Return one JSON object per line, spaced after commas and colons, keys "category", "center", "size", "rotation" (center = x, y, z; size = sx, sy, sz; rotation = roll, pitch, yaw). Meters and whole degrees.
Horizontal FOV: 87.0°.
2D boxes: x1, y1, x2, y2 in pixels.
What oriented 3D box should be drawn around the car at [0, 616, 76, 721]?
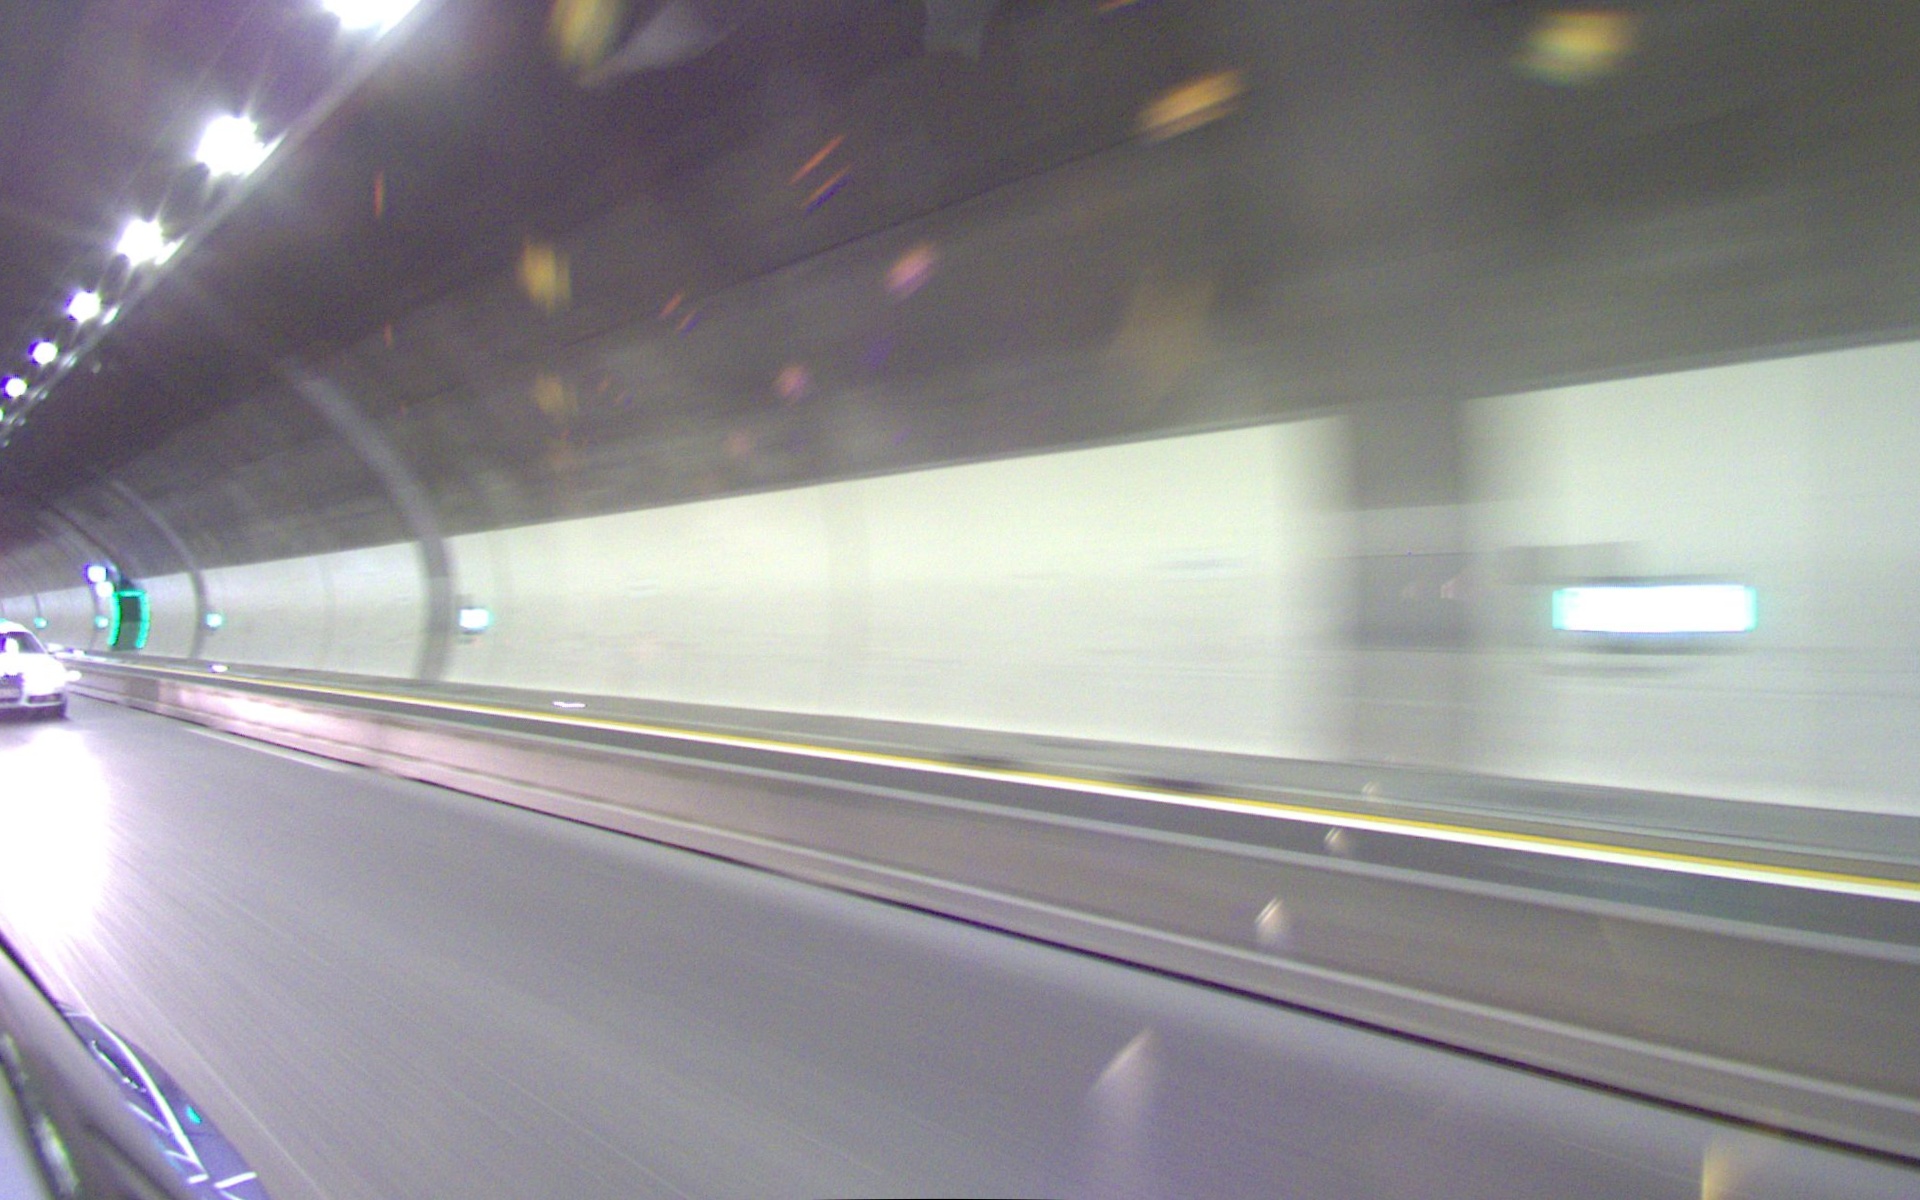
{"category": "car", "center": [-15.649, 1.053, 16.048], "size": [4.942, 1.496, 1.883], "rotation": [-2, -2, 42]}
